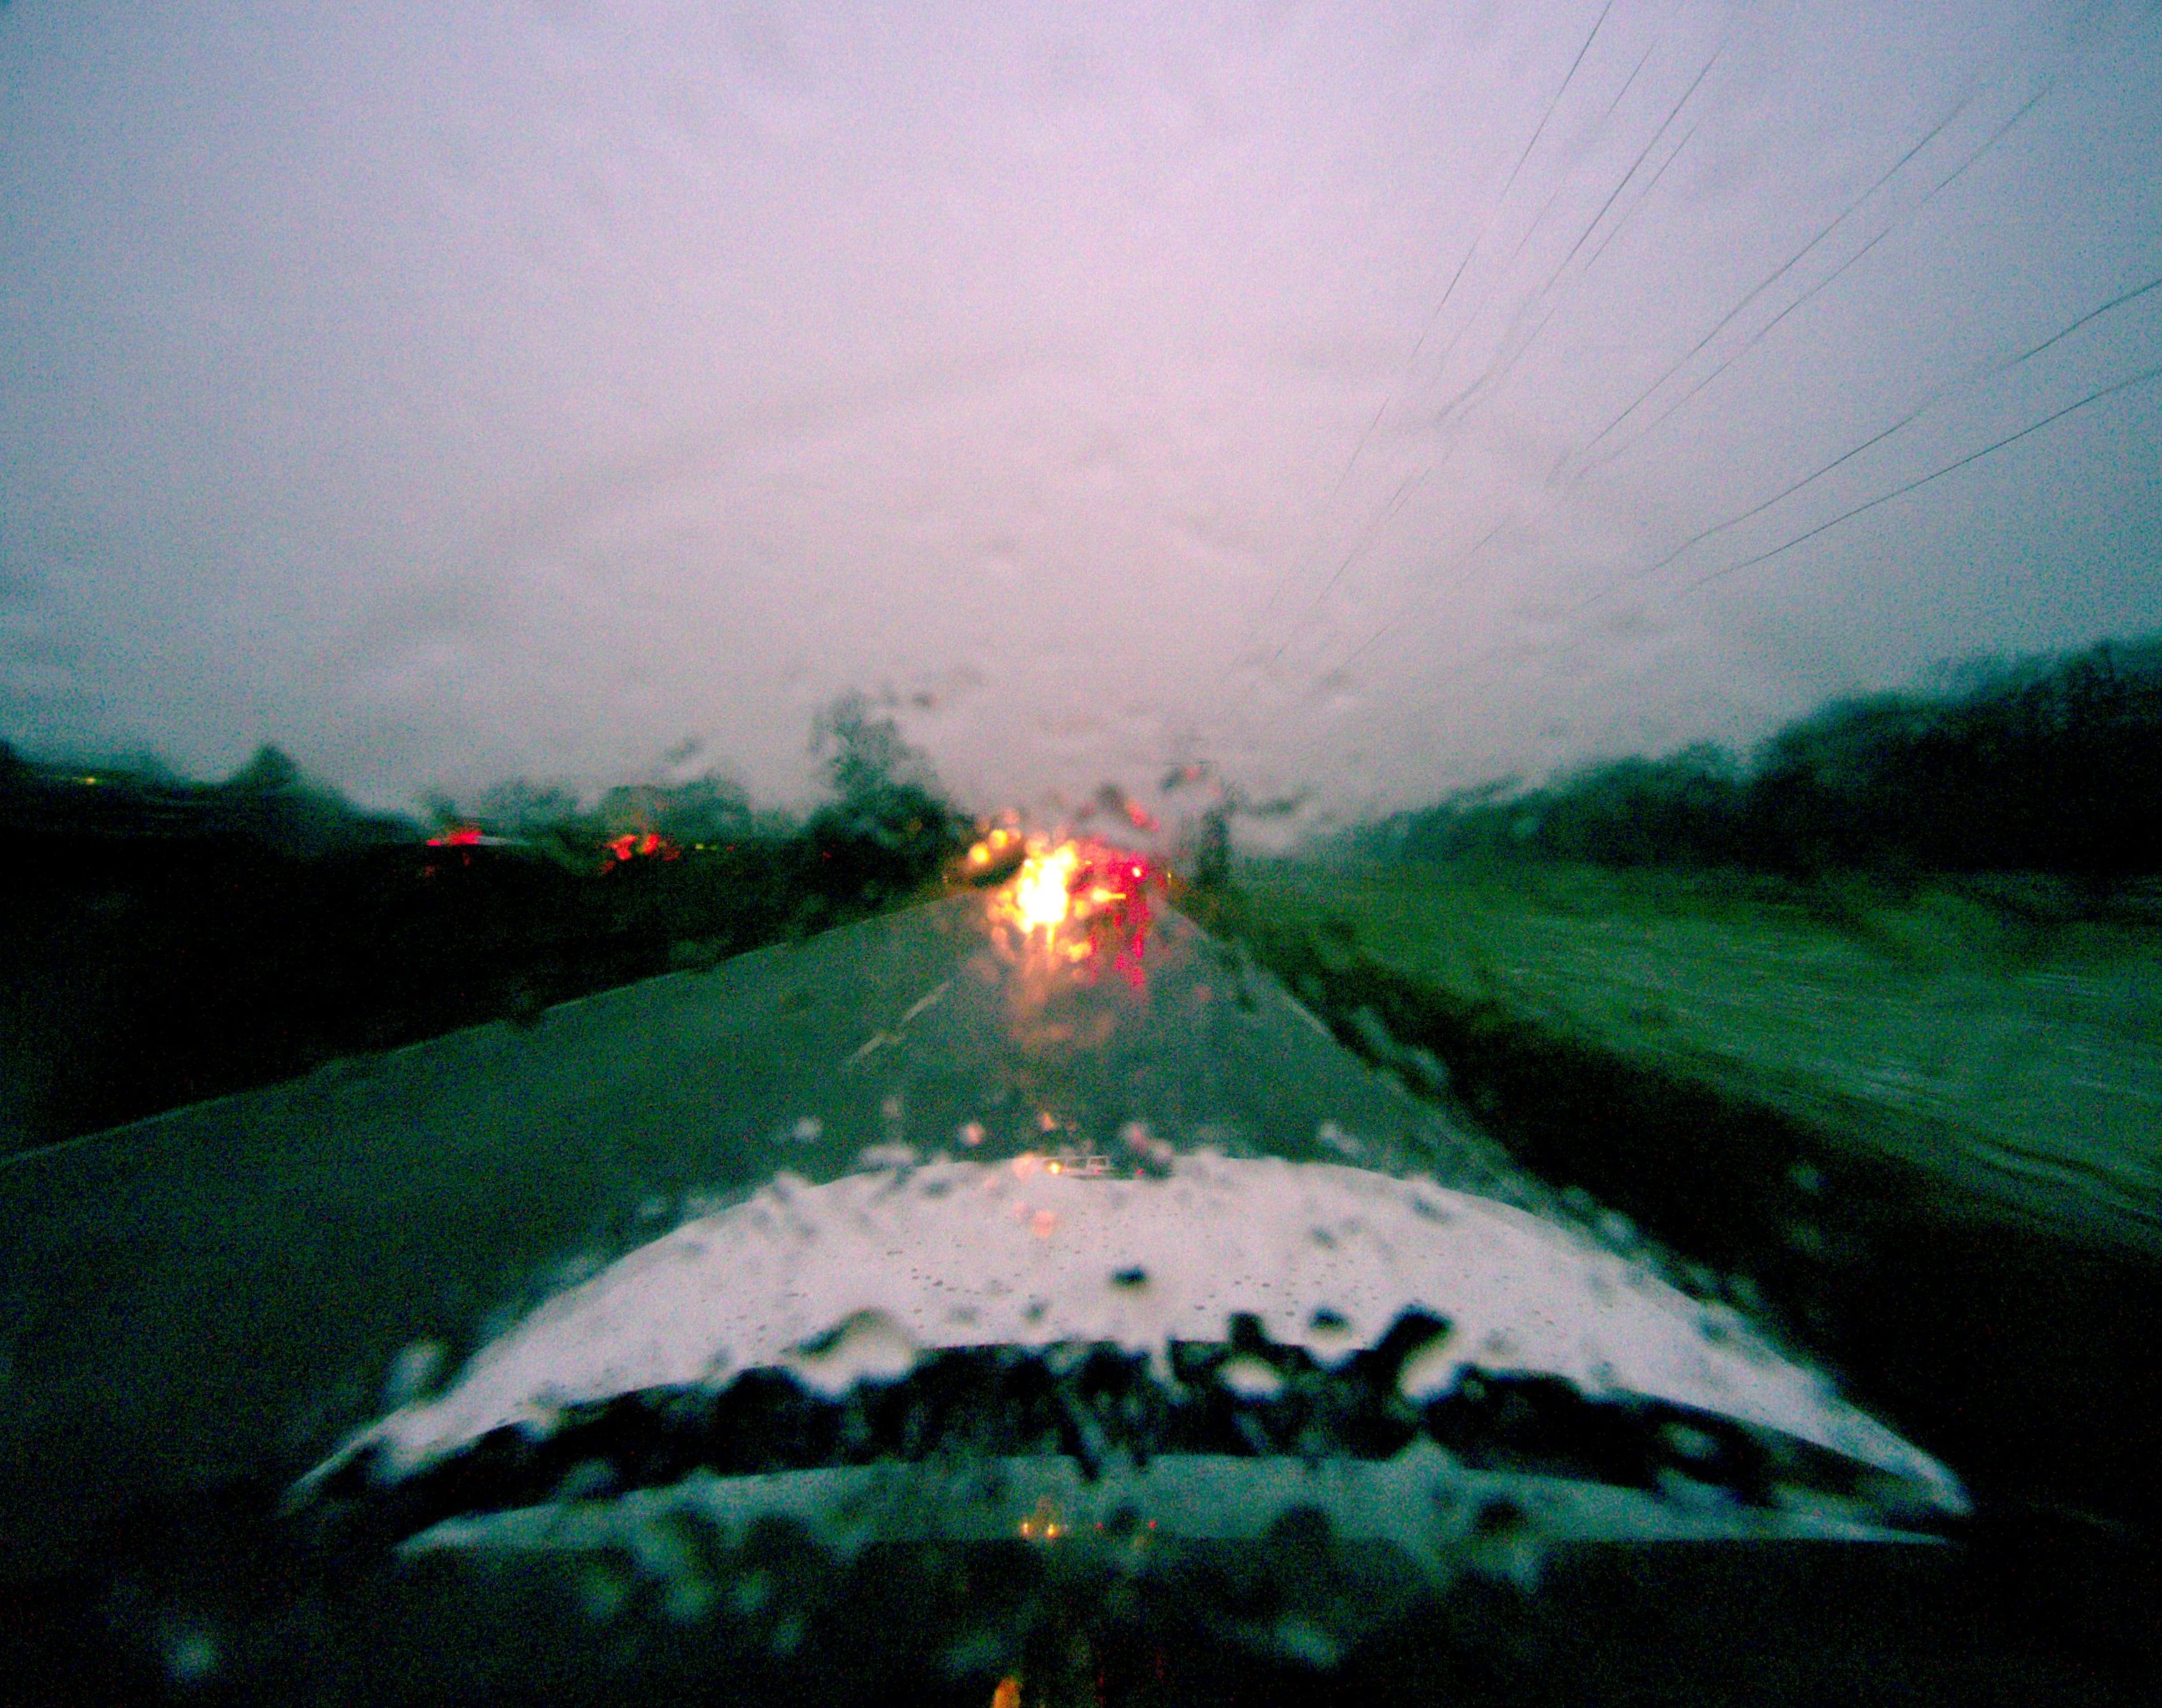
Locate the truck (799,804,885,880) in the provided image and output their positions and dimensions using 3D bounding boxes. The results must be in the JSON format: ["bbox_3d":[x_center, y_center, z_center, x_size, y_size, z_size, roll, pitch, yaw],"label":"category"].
[{"bbox_3d":[-29.168,-1.078,103.020,7.550,7.713,39.976,0,0,-12],"label":"truck"}]

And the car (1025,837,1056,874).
[{"bbox_3d":[-3.033,0.126,62.470,1.946,2.674,6.272,-1,0,1],"label":"car"}]

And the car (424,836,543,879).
[{"bbox_3d":[-29.502,0.172,40.451,1.986,2.014,5.107,0,0,2],"label":"car"}]

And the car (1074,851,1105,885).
[{"bbox_3d":[0.528,0.847,50.705,1.846,2.014,3.999,0,0,0],"label":"car"}]

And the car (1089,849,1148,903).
[{"bbox_3d":[0.995,0.584,22.807,1.495,1.398,3.199,0,0,0],"label":"car"}]

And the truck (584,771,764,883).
[{"bbox_3d":[-25.932,-1.455,53.629,3.751,6.288,15.739,0,0,1],"label":"truck"}]
